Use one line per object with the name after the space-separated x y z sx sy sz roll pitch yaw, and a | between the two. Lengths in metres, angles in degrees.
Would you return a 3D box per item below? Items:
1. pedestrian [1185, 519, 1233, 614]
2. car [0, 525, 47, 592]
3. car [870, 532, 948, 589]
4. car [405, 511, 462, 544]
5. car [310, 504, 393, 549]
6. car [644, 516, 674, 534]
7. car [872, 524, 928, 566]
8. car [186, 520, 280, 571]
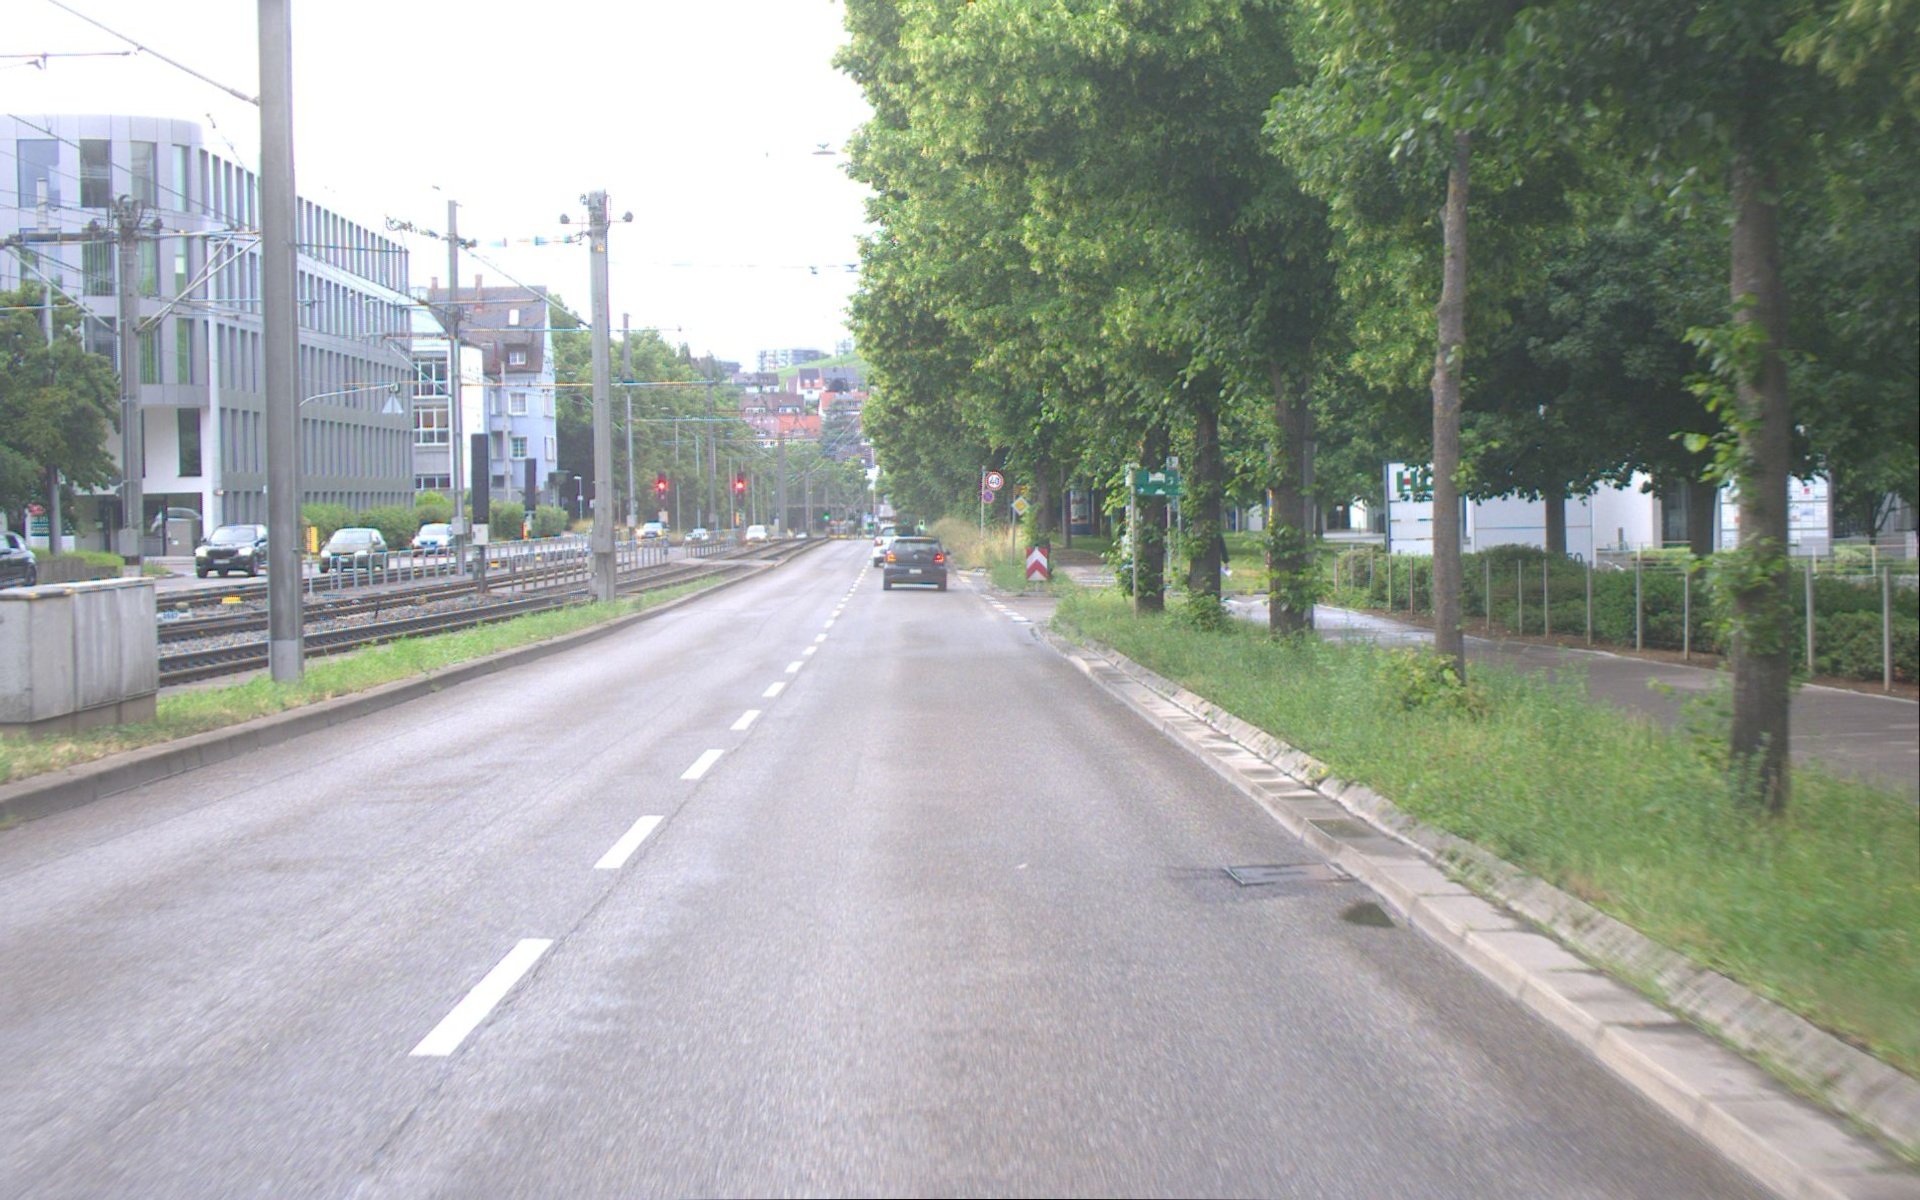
4.748 -0.638 65.659 0.826 1.791 0.867 1 1 0 | pedestrian
-24.024 -1.003 83.593 2.089 1.583 5.158 -1 1 2 | car
-1.335 -1.063 90.592 1.982 1.435 4.474 -1 1 -1 | car
-22.998 -3.170 150.378 1.761 1.392 3.900 -1 1 2 | car
-20.423 -2.473 115.511 1.891 1.481 4.308 -1 1 2 | car
-21.107 -5.264 241.349 1.756 1.239 3.988 -1 1 -1 | car
-2.144 -1.982 123.503 1.982 1.435 4.474 -1 1 -1 | car
-23.273 -1.771 110.189 1.948 1.590 4.847 -1 1 0 | car
